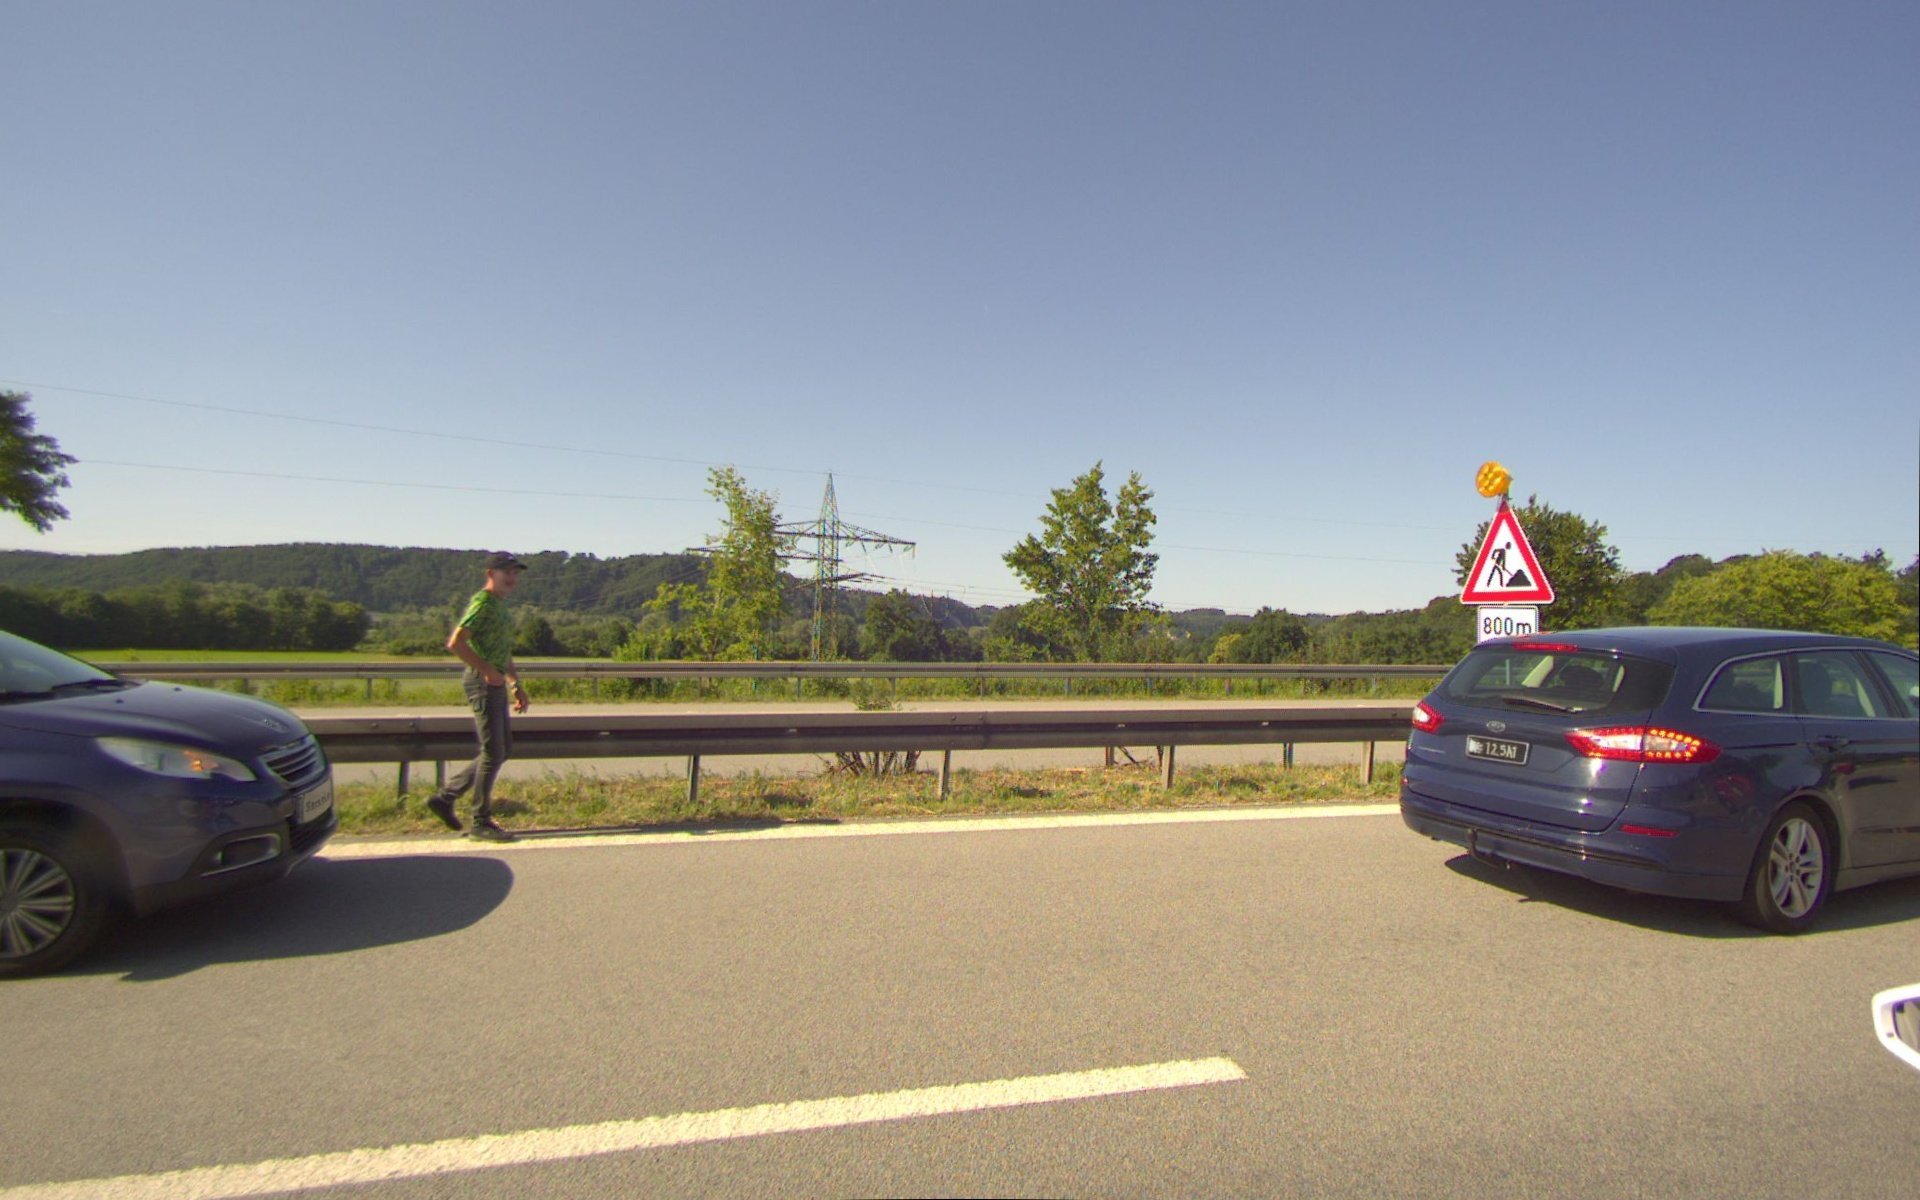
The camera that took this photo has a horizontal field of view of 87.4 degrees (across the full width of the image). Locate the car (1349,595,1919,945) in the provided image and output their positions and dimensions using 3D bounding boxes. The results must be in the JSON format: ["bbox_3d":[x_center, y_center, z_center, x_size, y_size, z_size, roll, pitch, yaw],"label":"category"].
[{"bbox_3d":[4.696,0.811,6.084,4.430,1.513,1.784,2,-2,-24],"label":"car"}]

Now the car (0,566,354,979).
[{"bbox_3d":[-4.986,0.617,4.192,3.887,1.555,1.686,1,0,-19],"label":"car"}]

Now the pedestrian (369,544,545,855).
[{"bbox_3d":[-3.050,0.584,6.168,0.801,1.773,0.671,1,-2,-15],"label":"pedestrian"}]

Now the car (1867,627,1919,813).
[{"bbox_3d":[9.722,0.998,8.037,4.140,1.461,1.695,1,0,-15],"label":"car"}]
